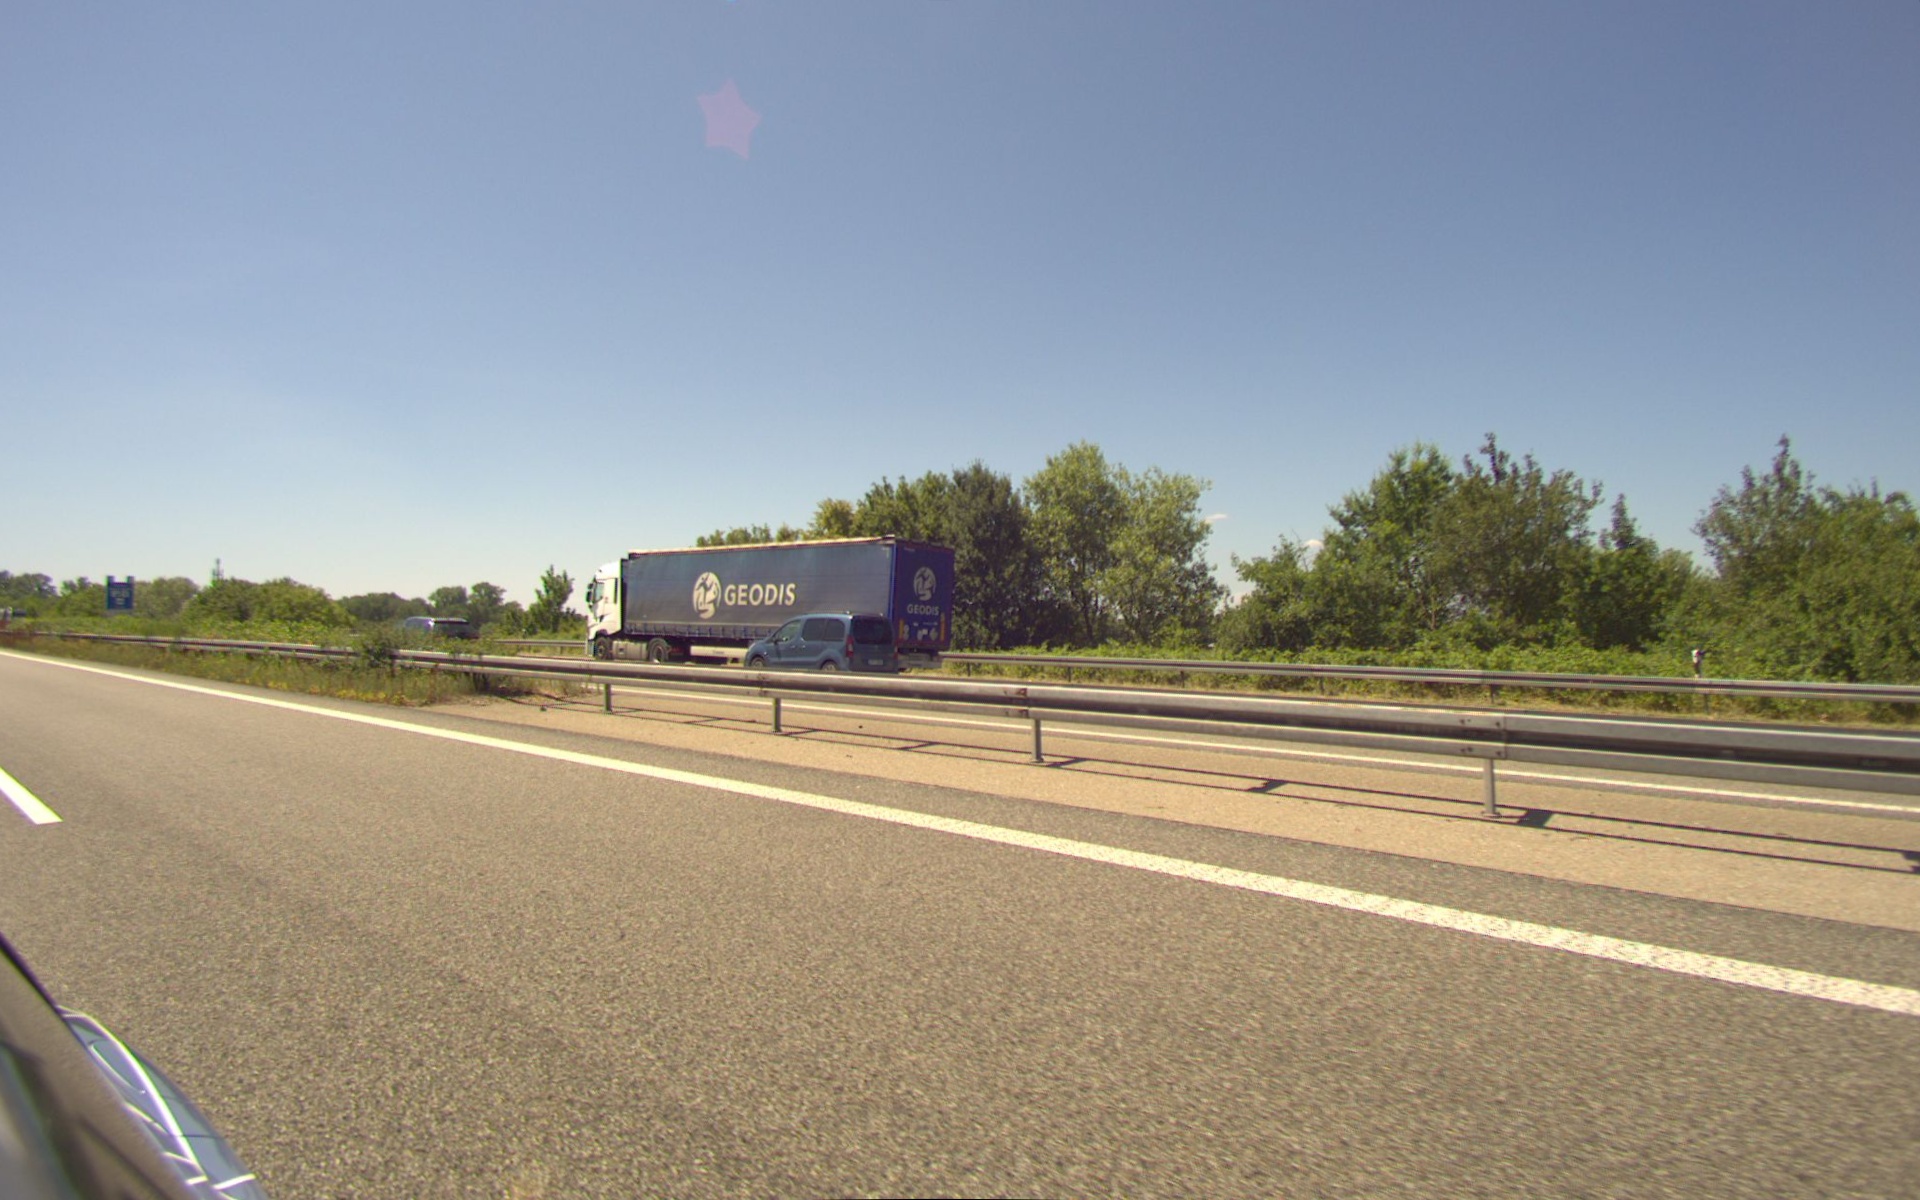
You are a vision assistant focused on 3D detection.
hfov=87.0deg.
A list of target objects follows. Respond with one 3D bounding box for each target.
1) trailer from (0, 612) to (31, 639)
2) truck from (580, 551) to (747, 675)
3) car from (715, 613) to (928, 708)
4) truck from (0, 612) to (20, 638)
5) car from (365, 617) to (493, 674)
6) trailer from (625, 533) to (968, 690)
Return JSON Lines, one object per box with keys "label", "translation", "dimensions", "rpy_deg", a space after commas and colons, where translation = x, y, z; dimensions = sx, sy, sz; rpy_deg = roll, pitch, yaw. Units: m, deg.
{"label": "trailer", "translation": [-146.824, 3.906, 156.708], "dimensions": [9.646, 4.021, 2.897], "rpy_deg": [-2, -1, 38]}
{"label": "truck", "translation": [-10.991, 0.539, 37.239], "dimensions": [6.190, 4.161, 2.886], "rpy_deg": [-1, -4, 41]}
{"label": "car", "translation": [-3.513, 1.367, 24.932], "dimensions": [5.355, 2.003, 2.205], "rpy_deg": [-1, 1, 42]}
{"label": "truck", "translation": [-152.717, 4.078, 161.391], "dimensions": [9.612, 4.021, 2.889], "rpy_deg": [-2, -1, 39]}
{"label": "car", "translation": [-15.762, 1.309, 29.919], "dimensions": [4.725, 1.495, 1.732], "rpy_deg": [-1, -6, 42]}
{"label": "trailer", "translation": [-5.838, 0.452, 32.724], "dimensions": [13.535, 4.218, 2.889], "rpy_deg": [-1, -3, 41]}
